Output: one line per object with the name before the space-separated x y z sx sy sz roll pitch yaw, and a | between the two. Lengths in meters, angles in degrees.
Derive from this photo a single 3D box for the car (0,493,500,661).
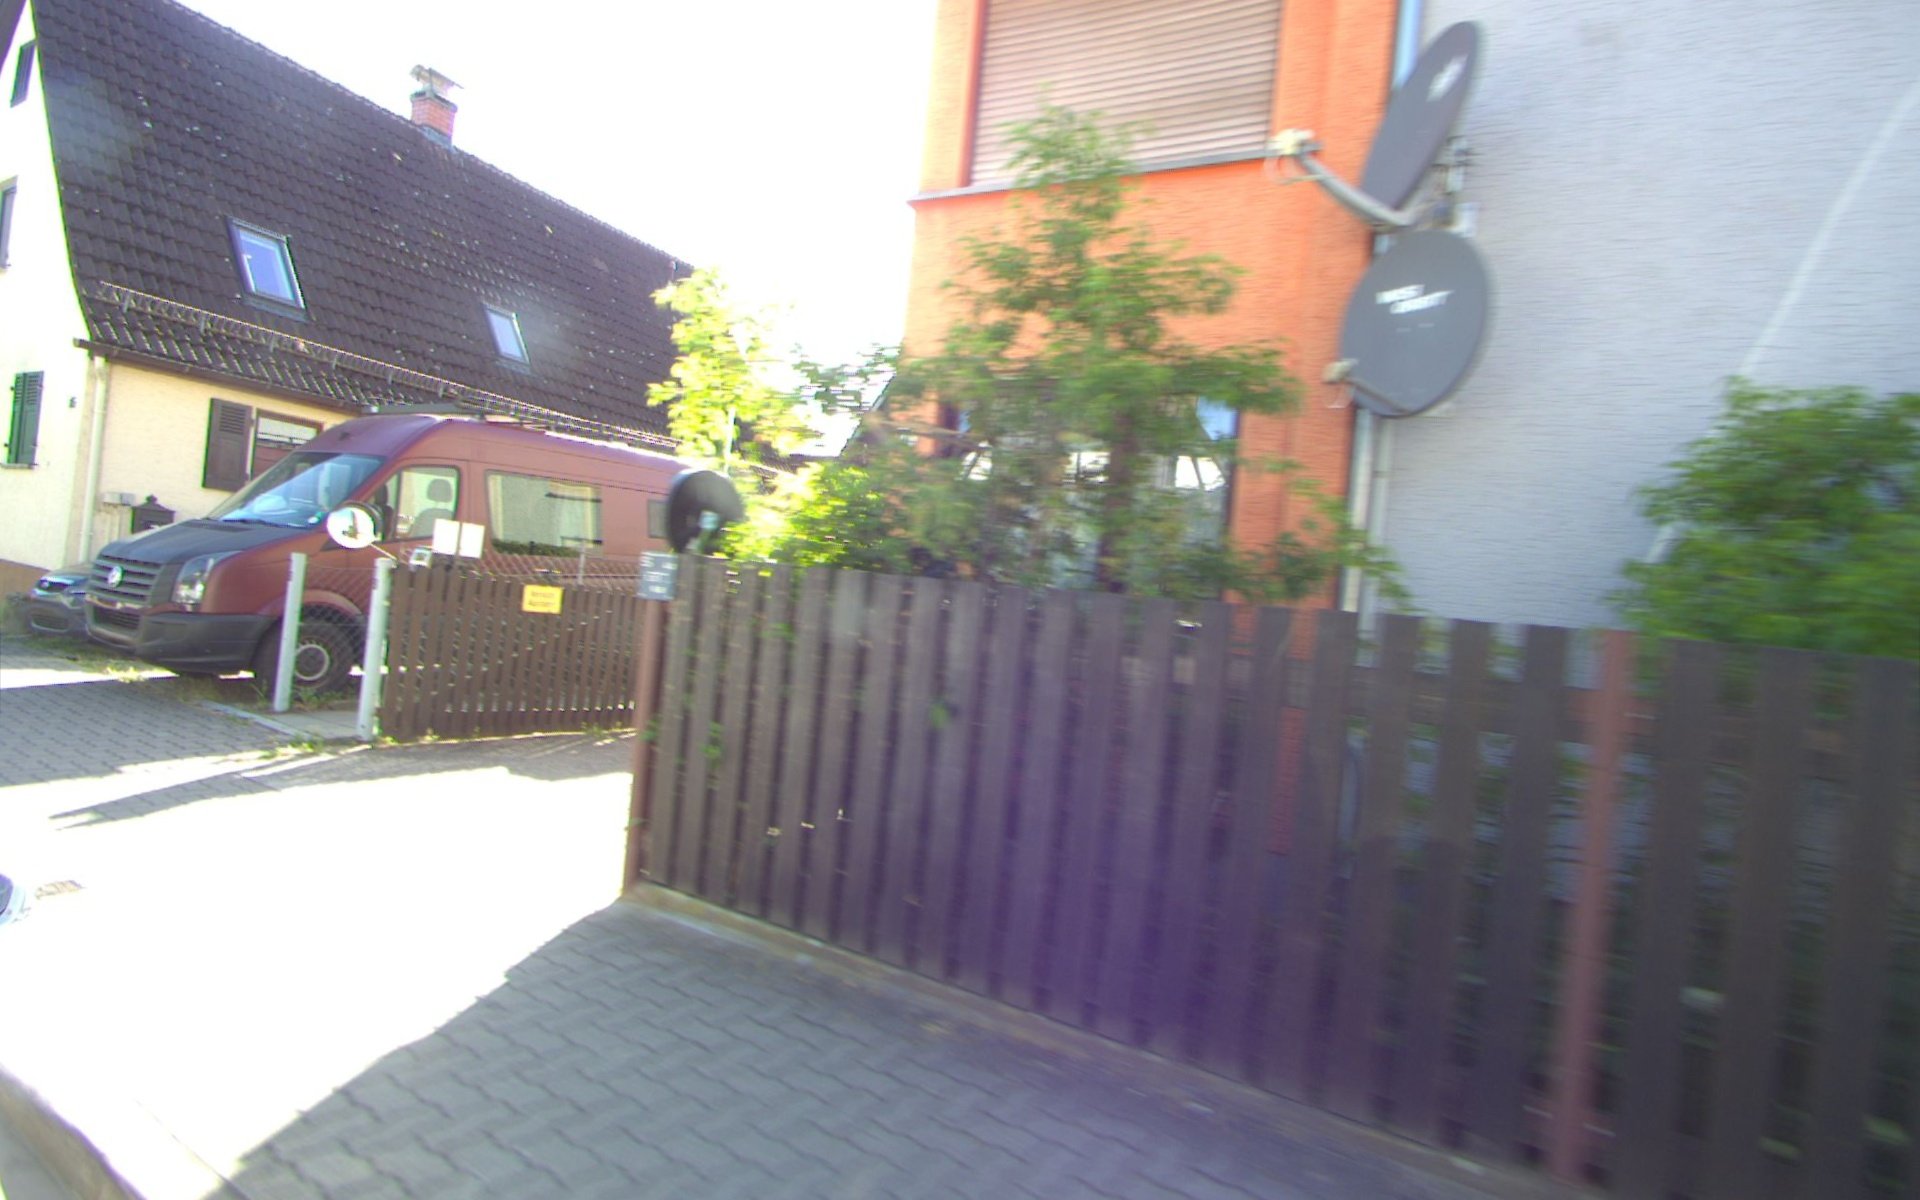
car | -7.829 -0.176 11.511 1.809 1.506 4.377 5 1 30

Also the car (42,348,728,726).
car | -5.114 -0.408 10.187 1.934 2.689 5.810 5 0 28
